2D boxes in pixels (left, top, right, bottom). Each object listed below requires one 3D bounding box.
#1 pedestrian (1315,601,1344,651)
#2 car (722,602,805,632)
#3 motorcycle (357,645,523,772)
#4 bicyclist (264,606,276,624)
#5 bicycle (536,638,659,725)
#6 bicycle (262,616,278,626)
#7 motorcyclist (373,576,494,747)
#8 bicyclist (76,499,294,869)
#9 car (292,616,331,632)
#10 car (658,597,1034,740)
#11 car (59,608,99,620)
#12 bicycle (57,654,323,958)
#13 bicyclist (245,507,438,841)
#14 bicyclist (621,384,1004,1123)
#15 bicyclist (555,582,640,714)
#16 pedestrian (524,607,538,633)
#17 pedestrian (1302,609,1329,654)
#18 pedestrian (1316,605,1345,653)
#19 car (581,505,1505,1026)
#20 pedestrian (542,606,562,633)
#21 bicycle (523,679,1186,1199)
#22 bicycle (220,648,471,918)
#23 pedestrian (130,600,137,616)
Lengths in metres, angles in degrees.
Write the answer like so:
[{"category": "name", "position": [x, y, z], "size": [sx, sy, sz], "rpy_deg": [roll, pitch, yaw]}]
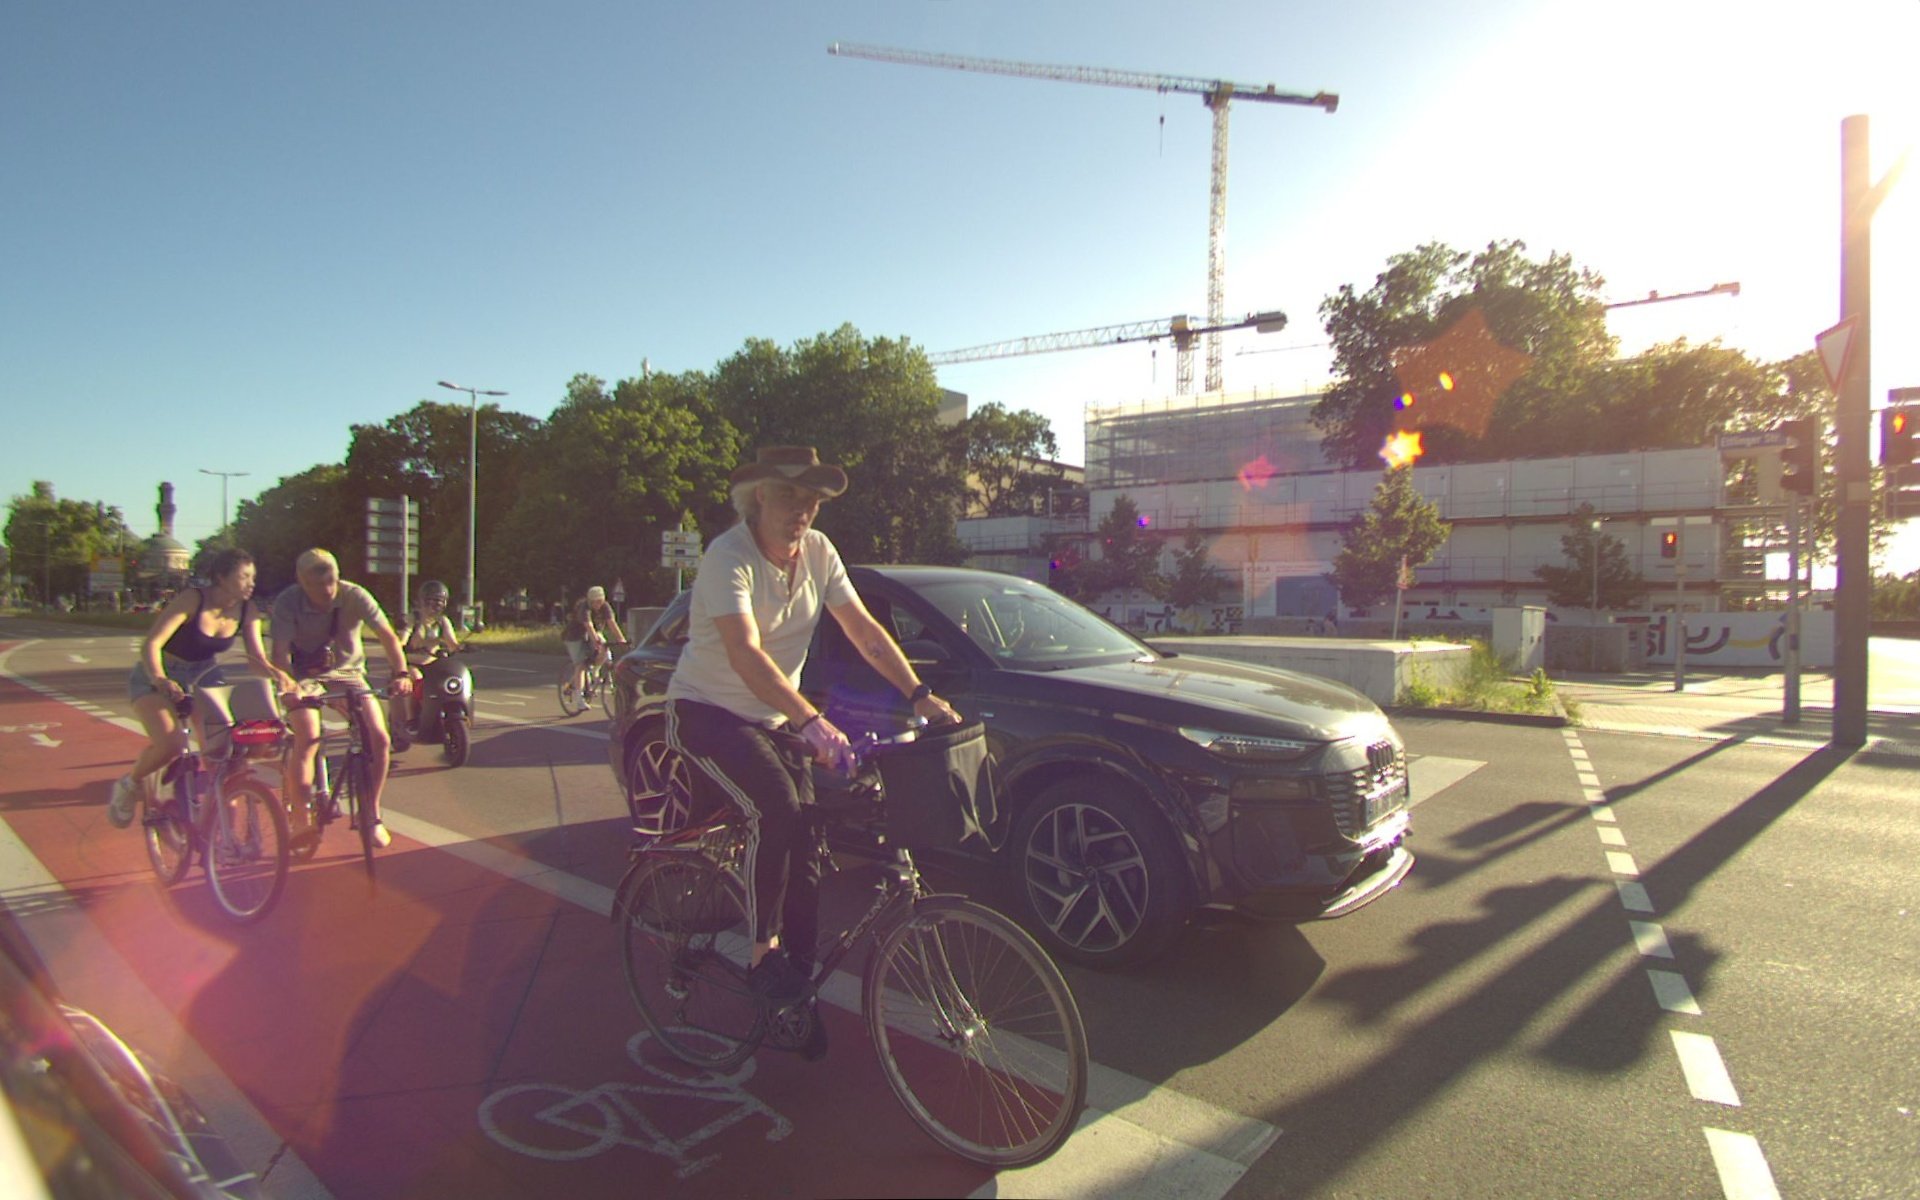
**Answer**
[{"category": "pedestrian", "position": [12.781, 0.899, 35.004], "size": [0.654, 1.693, 0.828], "rpy_deg": [0, -1, 42]}, {"category": "car", "position": [-13.023, 1.123, 67.235], "size": [2.001, 1.906, 5.253], "rpy_deg": [-1, -2, 44]}, {"category": "motorcycle", "position": [-4.845, 0.942, 9.369], "size": [1.959, 0.976, 0.747], "rpy_deg": [0, 0, 43]}, {"category": "bicyclist", "position": [-55.114, 1.184, 80.815], "size": [0.768, 1.377, 0.609], "rpy_deg": [0, -1, 43]}, {"category": "bicycle", "position": [-4.410, 0.945, 12.237], "size": [1.911, 0.915, 0.616], "rpy_deg": [0, 0, 44]}, {"category": "bicycle", "position": [-55.121, 1.675, 80.812], "size": [1.980, 0.810, 0.609], "rpy_deg": [0, -1, 43]}, {"category": "motorcyclist", "position": [-4.898, 0.537, 9.415], "size": [0.882, 1.495, 0.747], "rpy_deg": [0, 0, 42]}, {"category": "bicyclist", "position": [-3.662, 0.355, 4.776], "size": [0.847, 1.554, 0.643], "rpy_deg": [0, -1, 41]}, {"category": "car", "position": [-50.354, 1.840, 78.594], "size": [3.769, 1.141, 1.597], "rpy_deg": [0, 0, 41]}, {"category": "car", "position": [-1.478, 0.647, 11.831], "size": [4.522, 1.362, 1.753], "rpy_deg": [0, 0, 40]}, {"category": "car", "position": [-110.903, 1.726, 127.440], "size": [1.620, 1.463, 3.717], "rpy_deg": [0, 0, 43]}, {"category": "bicycle", "position": [-3.686, 0.846, 4.785], "size": [1.800, 1.102, 0.643], "rpy_deg": [0, -1, 41]}, {"category": "bicyclist", "position": [-3.269, 0.355, 5.337], "size": [0.894, 1.587, 0.617], "rpy_deg": [0, -1, 42]}, {"category": "bicyclist", "position": [-0.397, 0.350, 2.820], "size": [0.784, 1.682, 0.693], "rpy_deg": [0, -1, 34]}, {"category": "bicyclist", "position": [-4.380, 0.555, 12.211], "size": [0.938, 1.514, 0.616], "rpy_deg": [0, 0, 44]}, {"category": "pedestrian", "position": [-28.850, 1.323, 68.063], "size": [0.697, 1.739, 0.655], "rpy_deg": [0, -1, 42]}, {"category": "pedestrian", "position": [11.744, 1.043, 33.441], "size": [0.654, 1.464, 0.595], "rpy_deg": [0, -1, 42]}, {"category": "pedestrian", "position": [12.477, 0.964, 34.102], "size": [0.654, 1.601, 0.828], "rpy_deg": [0, -1, 42]}, {"category": "car", "position": [0.143, 0.541, 5.645], "size": [4.789, 1.675, 2.172], "rpy_deg": [0, -1, 40]}, {"category": "pedestrian", "position": [-27.818, 1.314, 68.998], "size": [0.964, 1.796, 0.984], "rpy_deg": [0, 1, 42]}, {"category": "bicycle", "position": [-0.361, 0.829, 2.791], "size": [1.796, 1.102, 0.701], "rpy_deg": [0, -1, 35]}, {"category": "bicycle", "position": [-3.283, 0.852, 5.330], "size": [1.815, 1.125, 0.617], "rpy_deg": [0, -1, 42]}, {"category": "pedestrian", "position": [-103.395, 1.006, 126.603], "size": [0.594, 2.029, 0.519], "rpy_deg": [0, -1, 40]}]
